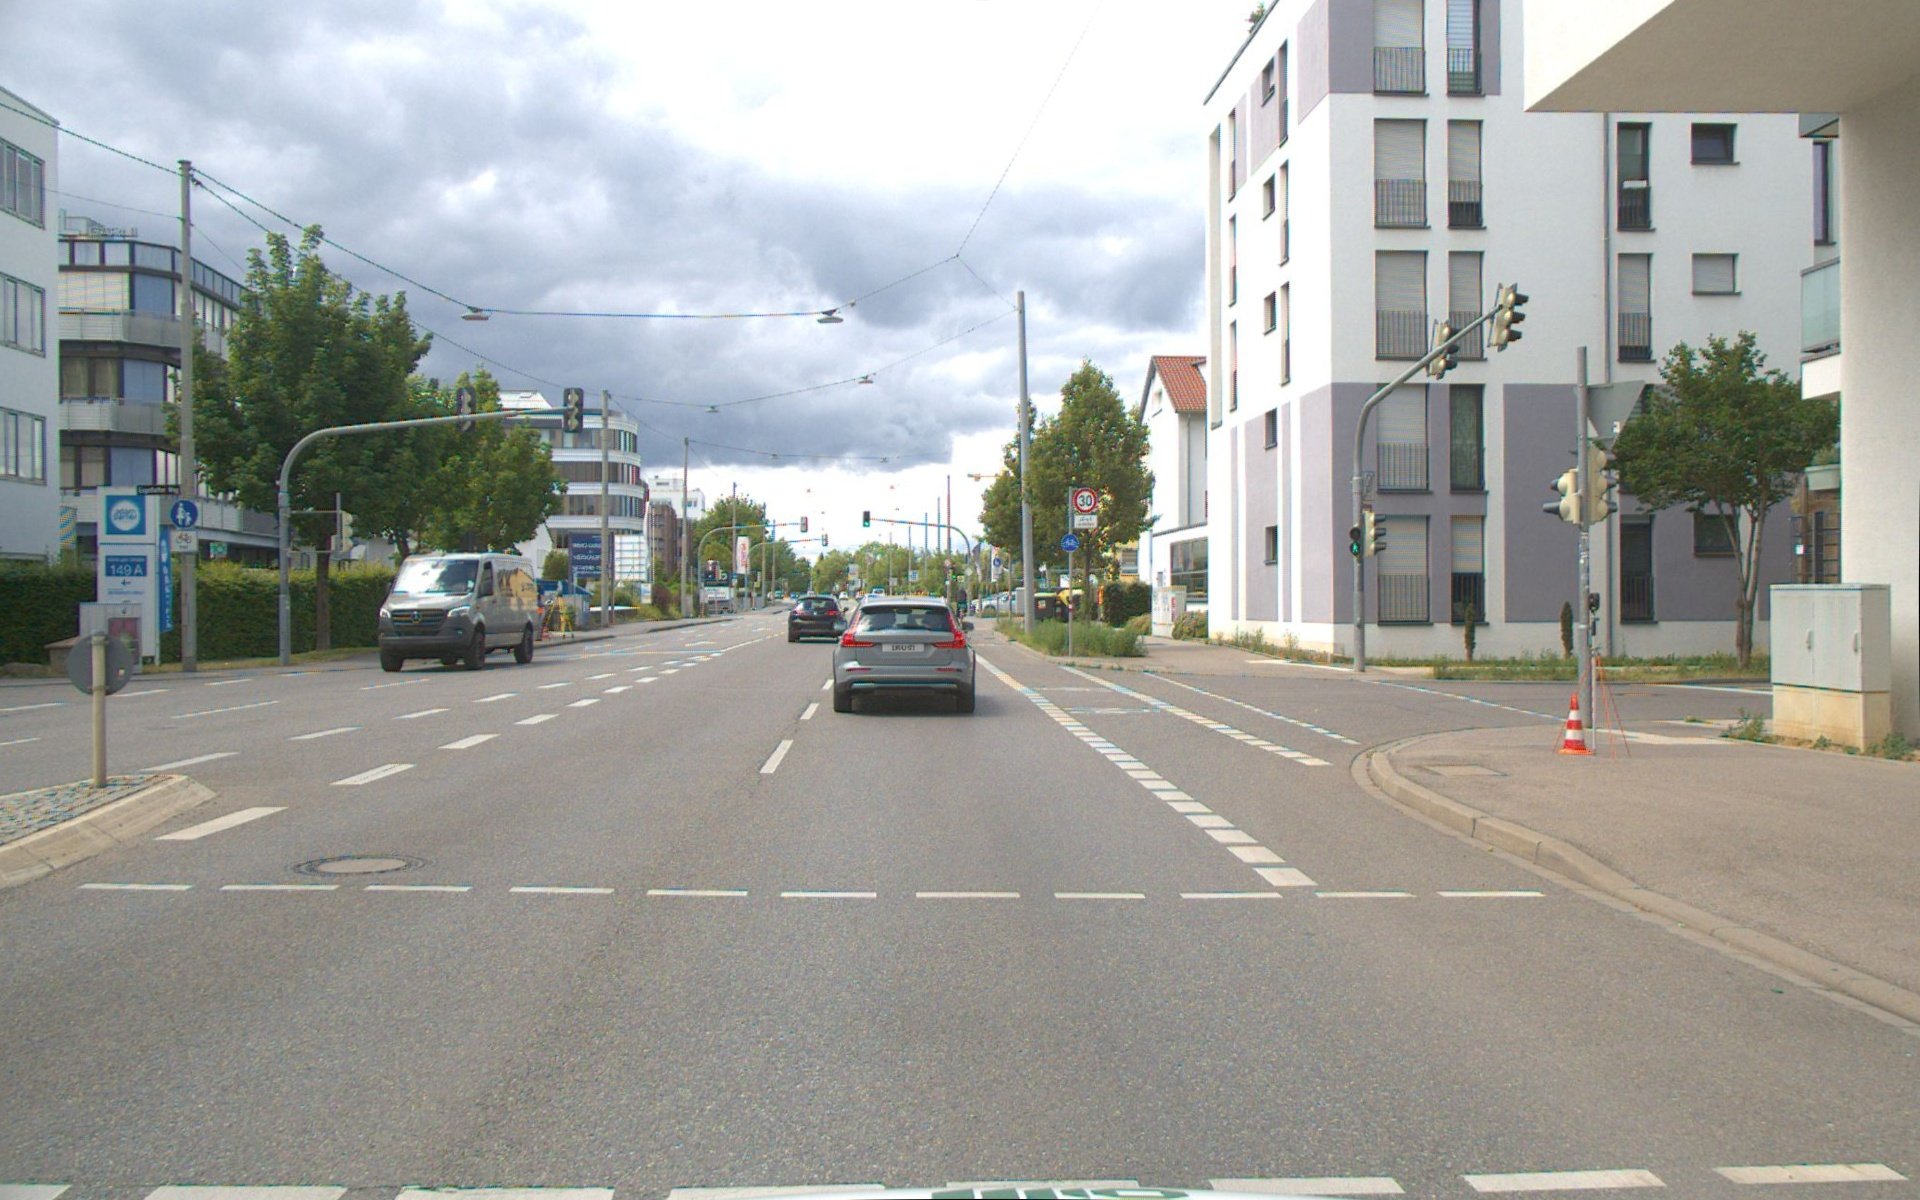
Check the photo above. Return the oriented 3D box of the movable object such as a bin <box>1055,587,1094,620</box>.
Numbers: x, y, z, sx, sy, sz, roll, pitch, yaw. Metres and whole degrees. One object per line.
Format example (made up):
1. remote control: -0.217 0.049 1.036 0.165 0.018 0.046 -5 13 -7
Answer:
1. movable object such as a bin: 5.187 0.147 74.779 1.296 1.460 1.247 -1 -2 35

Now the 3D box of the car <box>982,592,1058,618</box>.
1. car: 3.716 0.317 103.407 4.603 1.519 2.044 1 0 -3

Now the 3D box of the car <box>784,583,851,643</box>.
1. car: -4.421 0.420 51.665 1.954 1.747 3.996 2 -1 -5

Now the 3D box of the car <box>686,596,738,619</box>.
1. car: -19.960 0.617 133.205 4.020 1.421 1.904 -6 2 -10

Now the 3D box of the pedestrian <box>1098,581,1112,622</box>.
1. pedestrian: 6.423 0.065 73.064 0.496 1.796 0.501 1 -1 14

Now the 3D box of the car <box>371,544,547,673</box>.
1. car: -10.841 0.176 36.315 2.099 2.515 6.071 -2 0 -2

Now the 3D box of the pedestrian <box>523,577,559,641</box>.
1. pedestrian: -13.626 0.307 53.757 0.713 2.049 0.806 1 -1 40

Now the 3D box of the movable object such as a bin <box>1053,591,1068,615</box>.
1. movable object such as a bin: 4.561 0.134 75.289 0.556 1.044 0.404 -1 -2 35

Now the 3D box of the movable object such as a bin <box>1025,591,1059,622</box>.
1. movable object such as a bin: 3.691 0.287 74.392 1.291 1.385 1.252 -1 -1 14

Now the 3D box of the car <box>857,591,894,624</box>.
1. car: -4.742 0.436 93.005 1.954 1.724 3.997 2 -1 -3

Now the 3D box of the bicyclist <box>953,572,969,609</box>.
1. bicyclist: 0.047 -0.465 78.357 0.625 1.704 0.890 -3 0 -2

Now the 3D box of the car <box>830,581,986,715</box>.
1. car: -0.734 0.618 22.246 1.858 1.581 3.997 2 -1 -3

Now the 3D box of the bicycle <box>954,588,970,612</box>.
1. bicycle: 0.084 0.018 78.283 0.625 1.081 1.976 -4 0 -2
